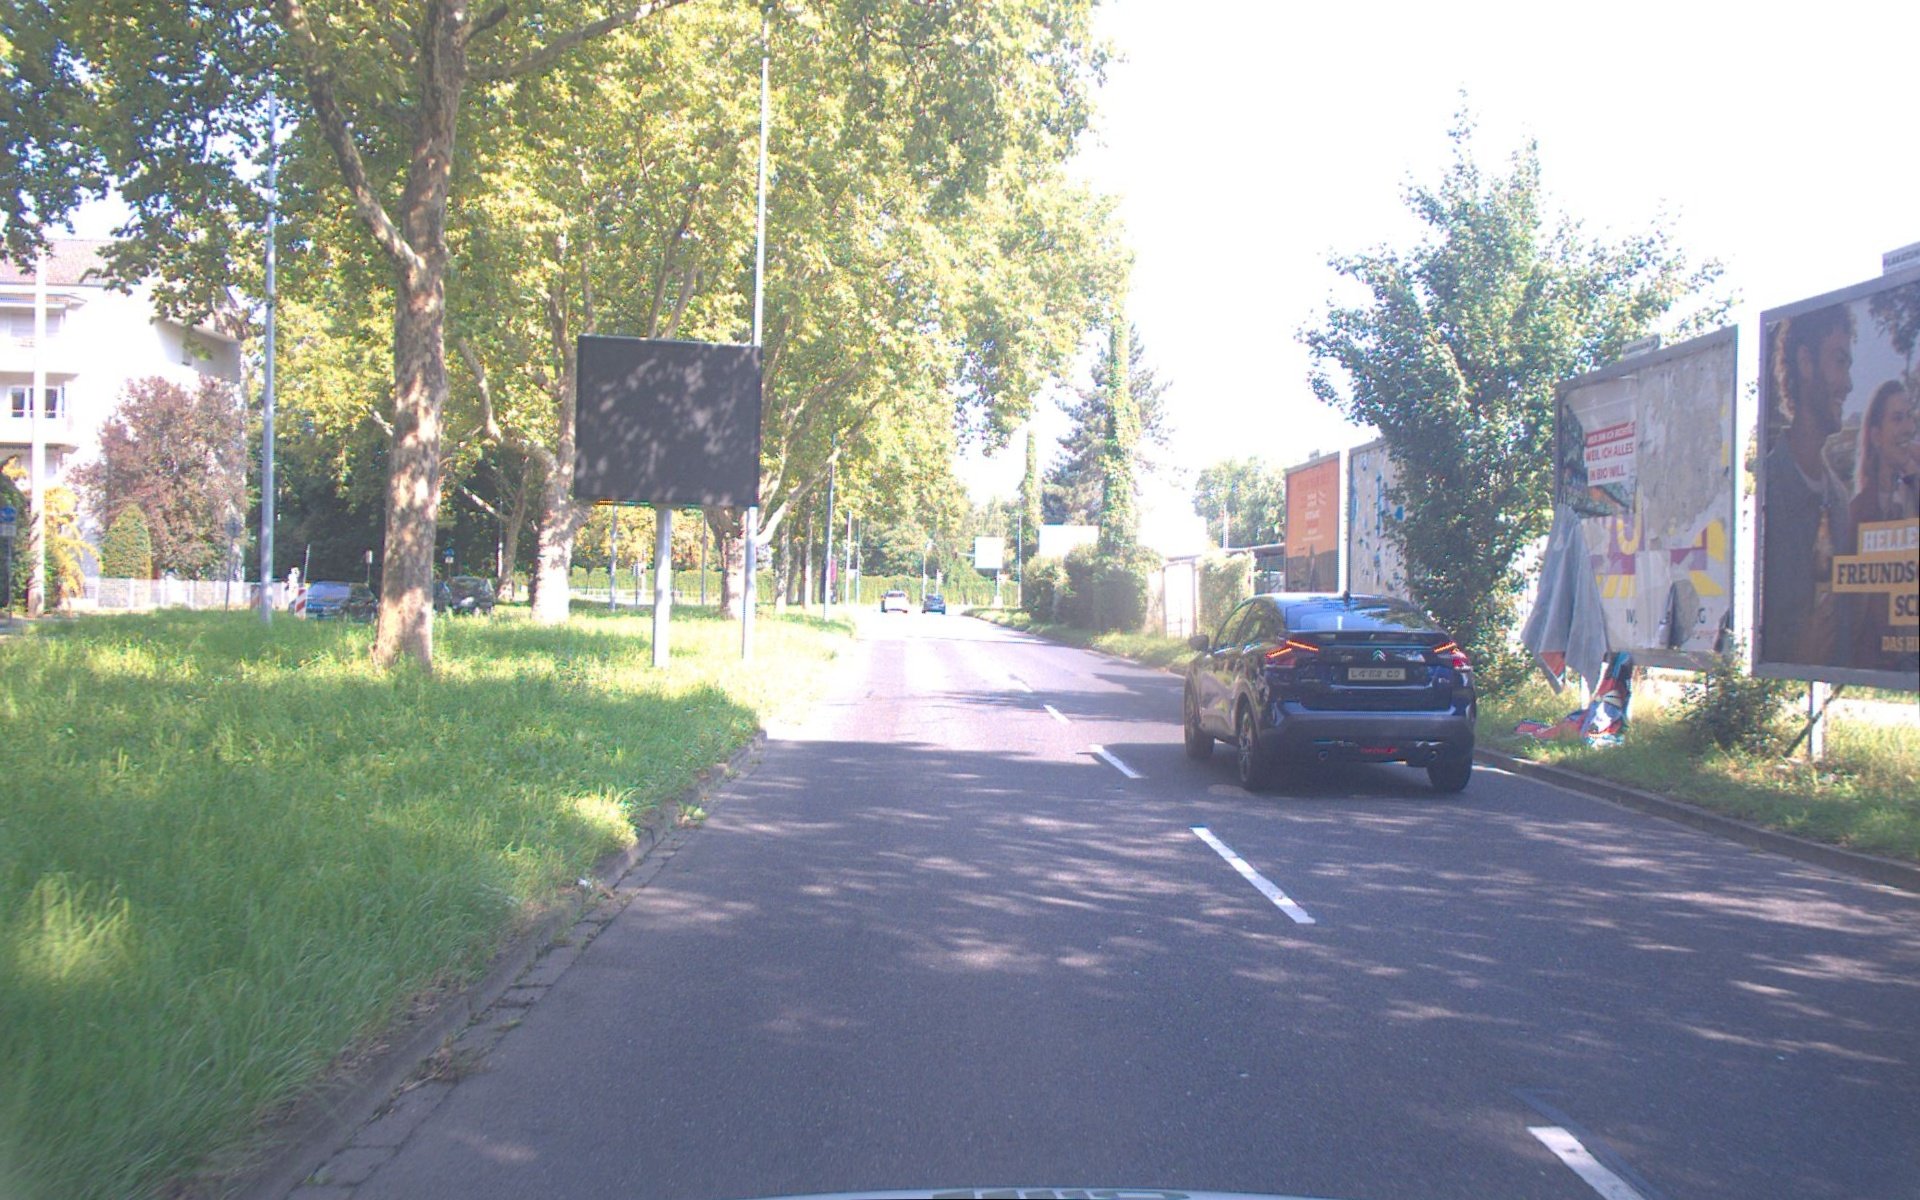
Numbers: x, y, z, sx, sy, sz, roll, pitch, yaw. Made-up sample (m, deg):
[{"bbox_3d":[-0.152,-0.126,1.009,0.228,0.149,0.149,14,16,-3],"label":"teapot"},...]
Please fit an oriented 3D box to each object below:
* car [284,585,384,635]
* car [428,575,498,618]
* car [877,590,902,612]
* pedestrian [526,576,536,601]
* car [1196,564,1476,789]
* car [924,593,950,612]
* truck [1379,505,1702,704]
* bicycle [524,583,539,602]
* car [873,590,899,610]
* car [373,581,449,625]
[{"bbox_3d":[-20.556,0.322,54.527,1.665,1.534,4.539,1,0,-2],"label":"car"},{"bbox_3d":[-21.251,-0.139,70.855,1.665,1.762,4.657,2,0,-2],"label":"car"},{"bbox_3d":[-5.013,0.072,117.790,1.653,1.487,3.999,2,0,-1],"label":"car"},{"bbox_3d":[-29.630,-0.775,114.281,0.532,1.720,0.657,2,-1,-6],"label":"pedestrian"},{"bbox_3d":[3.041,0.566,14.176,1.611,1.616,4.256,0,0,3],"label":"car"},{"bbox_3d":[-1.758,0.188,126.510,1.762,1.425,3.997,2,0,-3],"label":"car"},{"bbox_3d":[7.680,0.062,22.821,1.876,2.272,6.911,2,0,-1],"label":"truck"},{"bbox_3d":[-29.634,-0.512,114.381,0.534,1.220,2.758,2,0,-6],"label":"bicycle"},{"bbox_3d":[-5.630,0.023,125.829,1.652,1.487,3.850,2,0,2],"label":"car"},{"bbox_3d":[-20.937,0.112,63.206,1.665,1.595,3.998,1,0,-2],"label":"car"}]
